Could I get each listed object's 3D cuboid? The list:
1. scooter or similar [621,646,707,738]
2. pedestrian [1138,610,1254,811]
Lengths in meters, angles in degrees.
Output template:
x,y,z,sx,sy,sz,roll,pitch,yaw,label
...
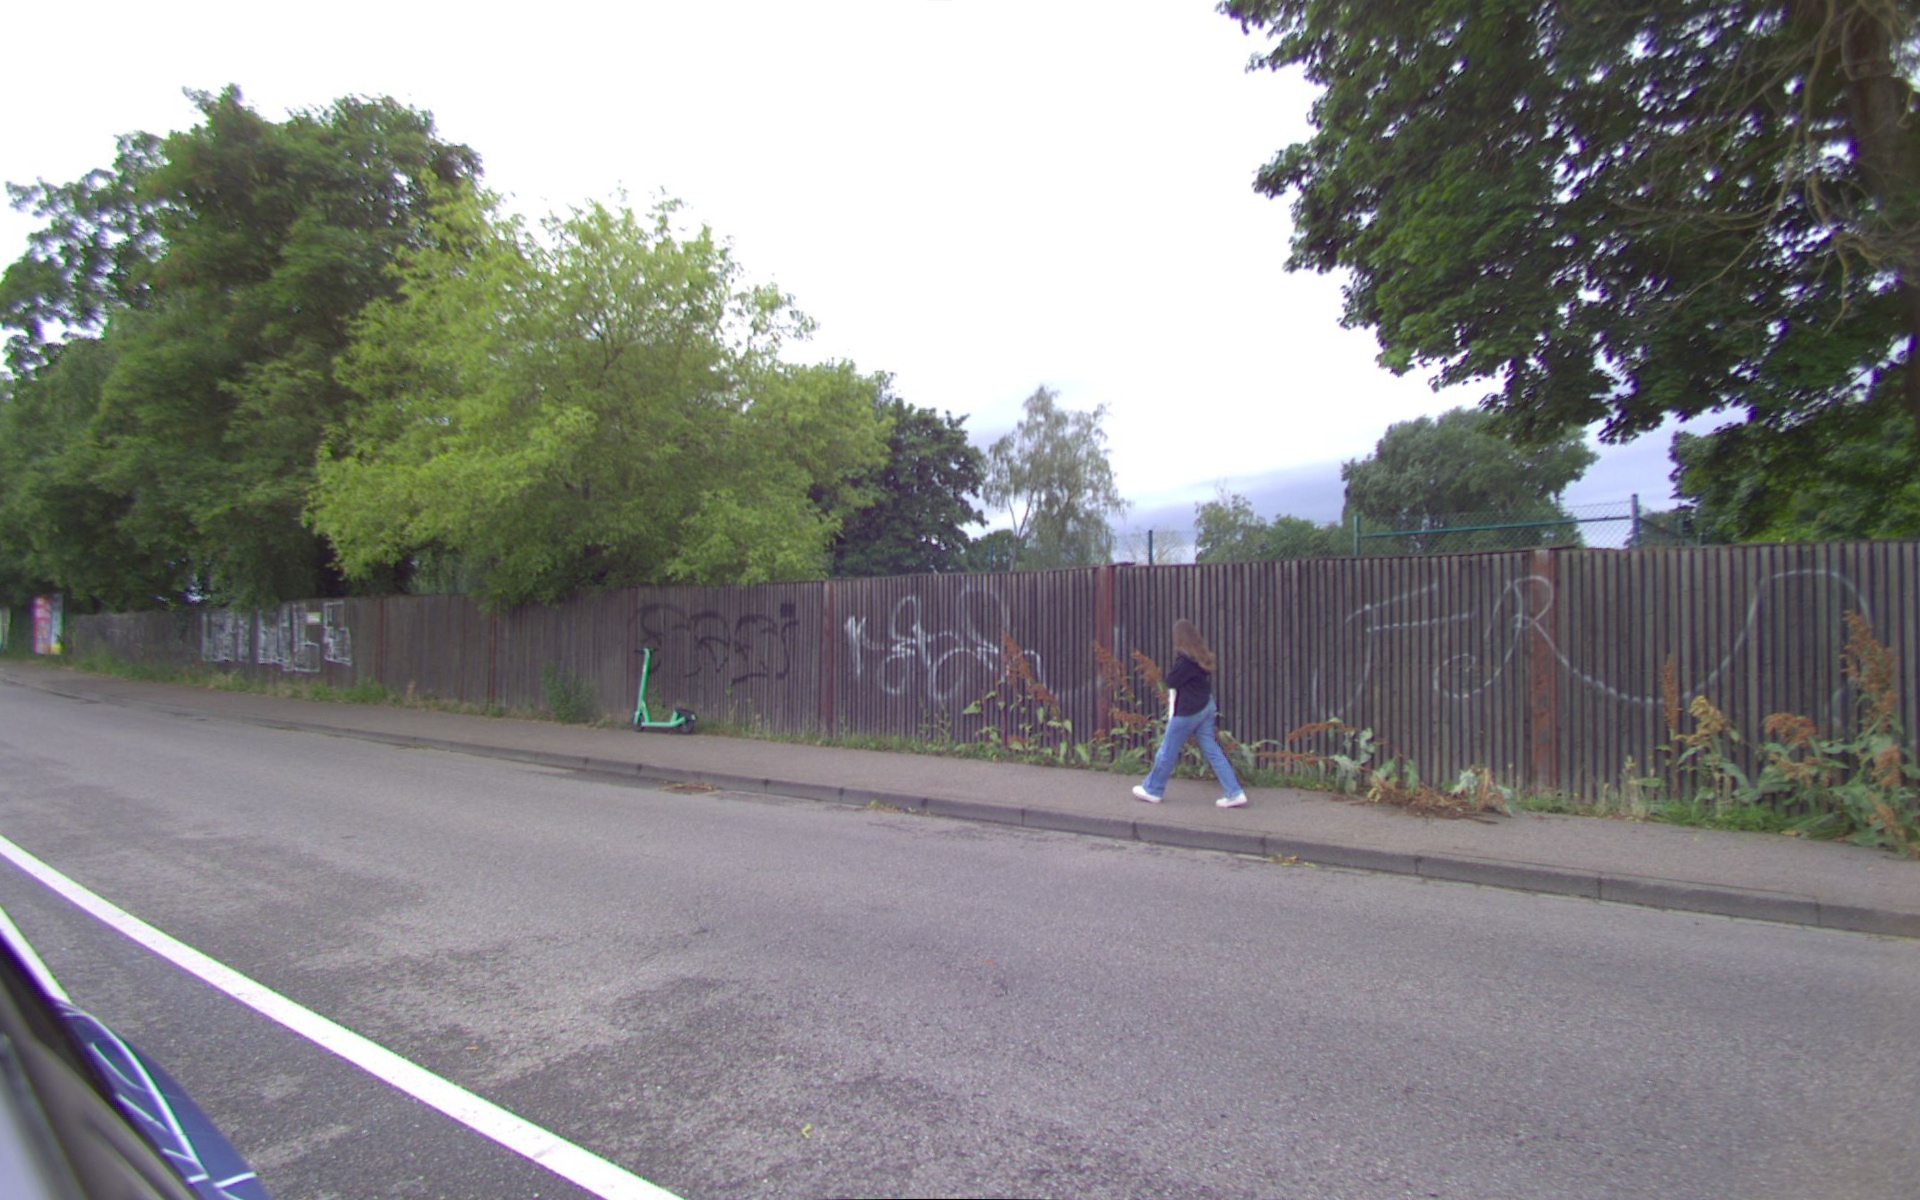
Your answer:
x,y,z,sx,sy,sz,roll,pitch,yaw,label
-4.013,1.215,13.692,1.300,1.179,0.419,-2,-2,35,scooter or similar
1.919,0.862,8.235,0.722,1.541,0.606,-2,-2,36,pedestrian
